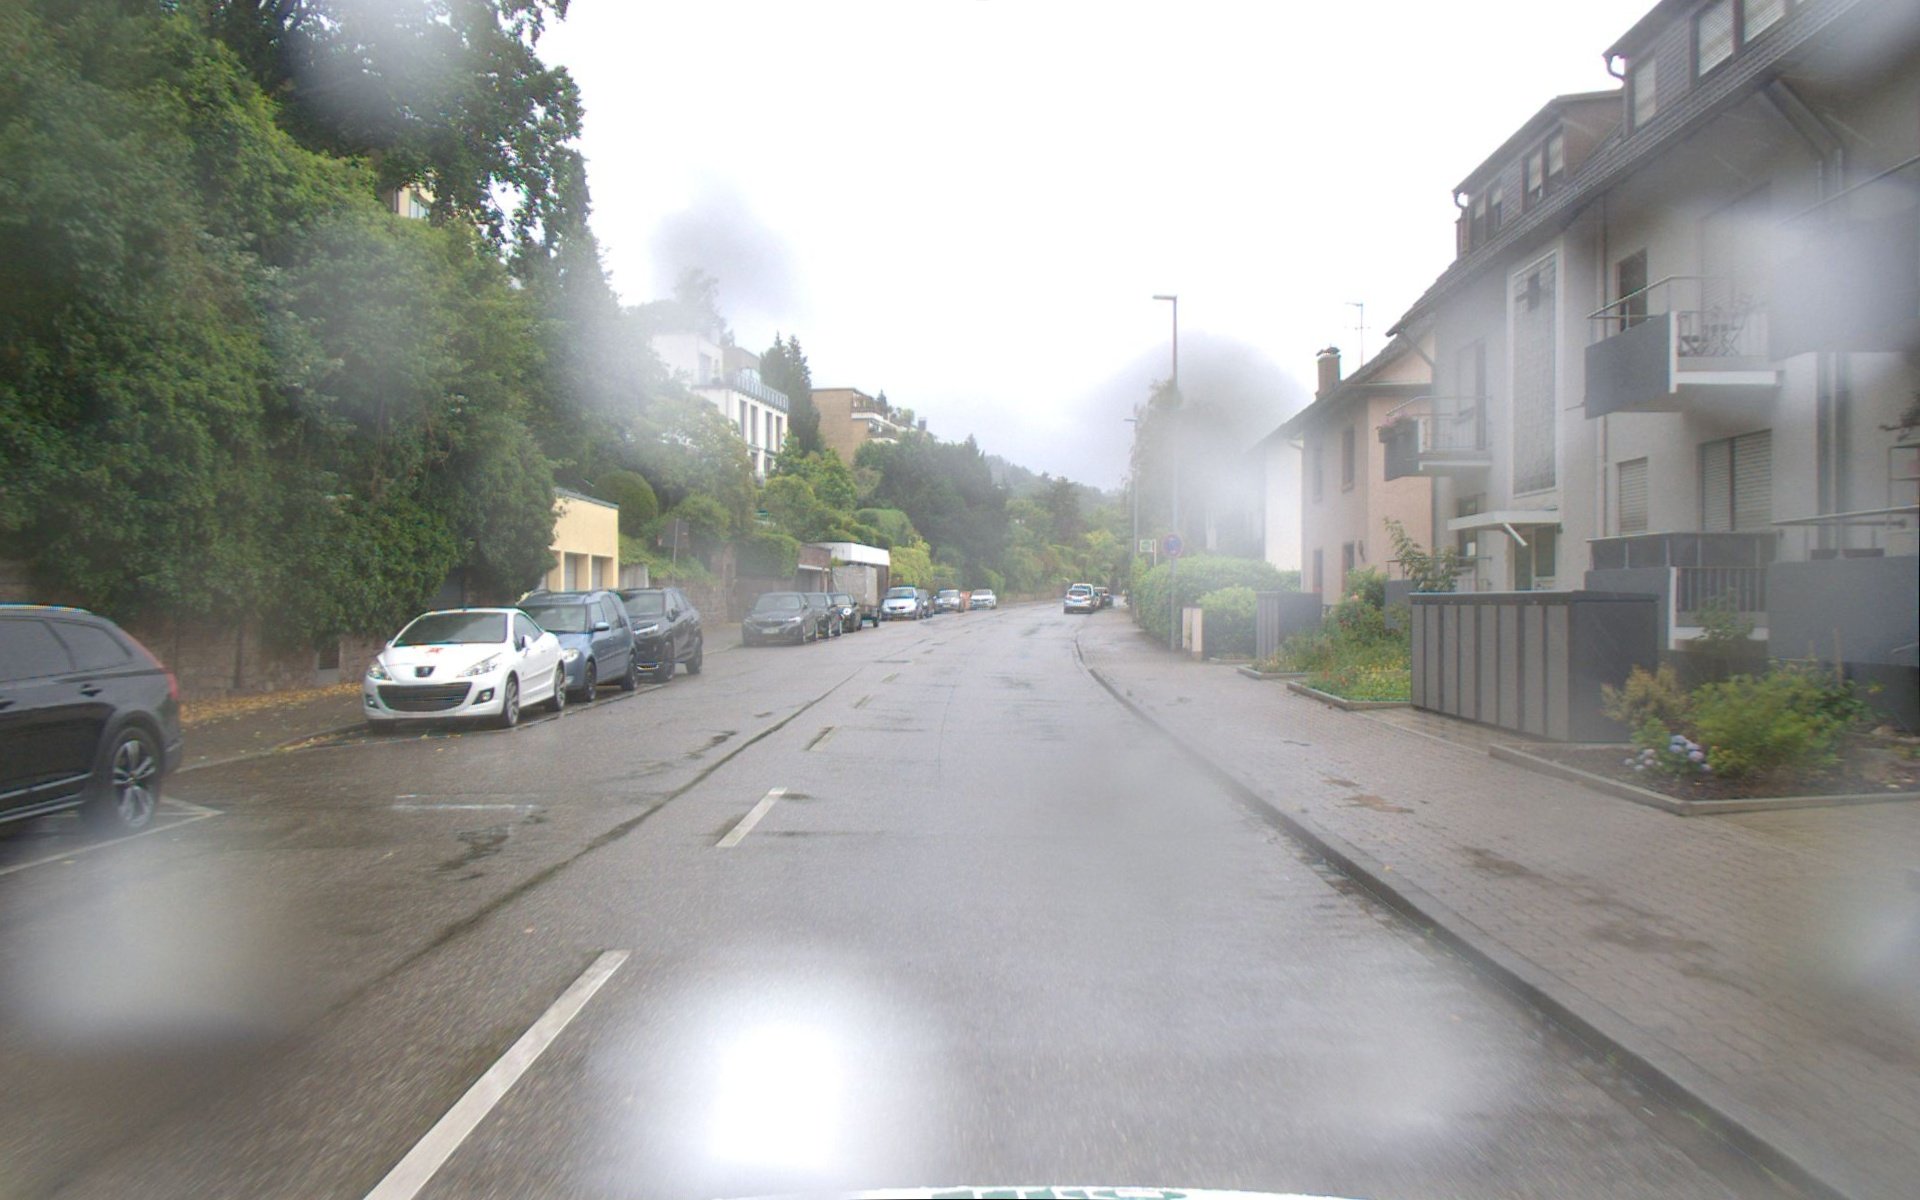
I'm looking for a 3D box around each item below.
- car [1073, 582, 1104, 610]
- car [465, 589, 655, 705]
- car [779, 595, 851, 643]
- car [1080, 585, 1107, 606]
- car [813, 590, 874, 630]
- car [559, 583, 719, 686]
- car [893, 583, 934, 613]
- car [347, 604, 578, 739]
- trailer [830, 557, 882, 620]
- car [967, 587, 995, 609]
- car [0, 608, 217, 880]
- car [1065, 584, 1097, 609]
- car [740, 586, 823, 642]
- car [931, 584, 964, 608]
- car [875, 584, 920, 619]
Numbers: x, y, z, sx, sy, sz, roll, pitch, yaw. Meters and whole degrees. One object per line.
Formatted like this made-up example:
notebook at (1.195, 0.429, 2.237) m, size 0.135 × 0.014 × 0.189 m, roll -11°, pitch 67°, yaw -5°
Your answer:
car at (8.525, -0.241, 109.513) m, size 1.746 × 1.822 × 4.364 m, roll 1°, pitch 0°, yaw 8°
car at (-6.049, 0.651, 25.498) m, size 1.705 × 1.588 × 4.111 m, roll -2°, pitch 0°, yaw 3°
car at (-4.726, 0.593, 54.457) m, size 1.748 × 1.440 × 4.219 m, roll -1°, pitch 1°, yaw 3°
car at (9.373, -0.338, 115.752) m, size 1.673 × 1.428 × 4.207 m, roll 1°, pitch 0°, yaw 8°
car at (-4.252, 0.346, 61.032) m, size 1.770 × 1.373 × 3.777 m, roll -1°, pitch 1°, yaw 3°
car at (-5.806, 0.574, 30.490) m, size 1.835 × 1.654 × 4.594 m, roll -3°, pitch 1°, yaw 2°
car at (-2.406, -0.109, 86.703) m, size 1.719 × 1.433 × 3.707 m, roll -3°, pitch 1°, yaw 4°
car at (-6.079, 0.809, 20.707) m, size 1.681 × 1.389 × 4.083 m, roll -2°, pitch 1°, yaw -1°
trailer at (-4.178, -0.458, 66.777) m, size 1.504 × 2.441 × 3.075 m, roll -2°, pitch 0°, yaw 6°
car at (1.585, -0.142, 122.986) m, size 1.718 × 1.524 × 4.223 m, roll -1°, pitch 0°, yaw 5°
car at (-6.291, 0.843, 9.371) m, size 1.869 × 1.506 × 4.756 m, roll -2°, pitch 0°, yaw 1°
car at (7.610, -0.207, 103.625) m, size 1.751 × 1.485 × 4.312 m, roll 1°, pitch 0°, yaw 8°
car at (-5.188, 0.380, 48.535) m, size 1.748 × 1.480 × 4.756 m, roll -2°, pitch 1°, yaw 1°
car at (-0.763, -0.273, 103.947) m, size 1.719 × 1.427 × 3.772 m, roll -2°, pitch 0°, yaw 5°
car at (-3.042, 0.059, 81.105) m, size 1.719 × 1.566 × 3.759 m, roll -3°, pitch 0°, yaw 4°
